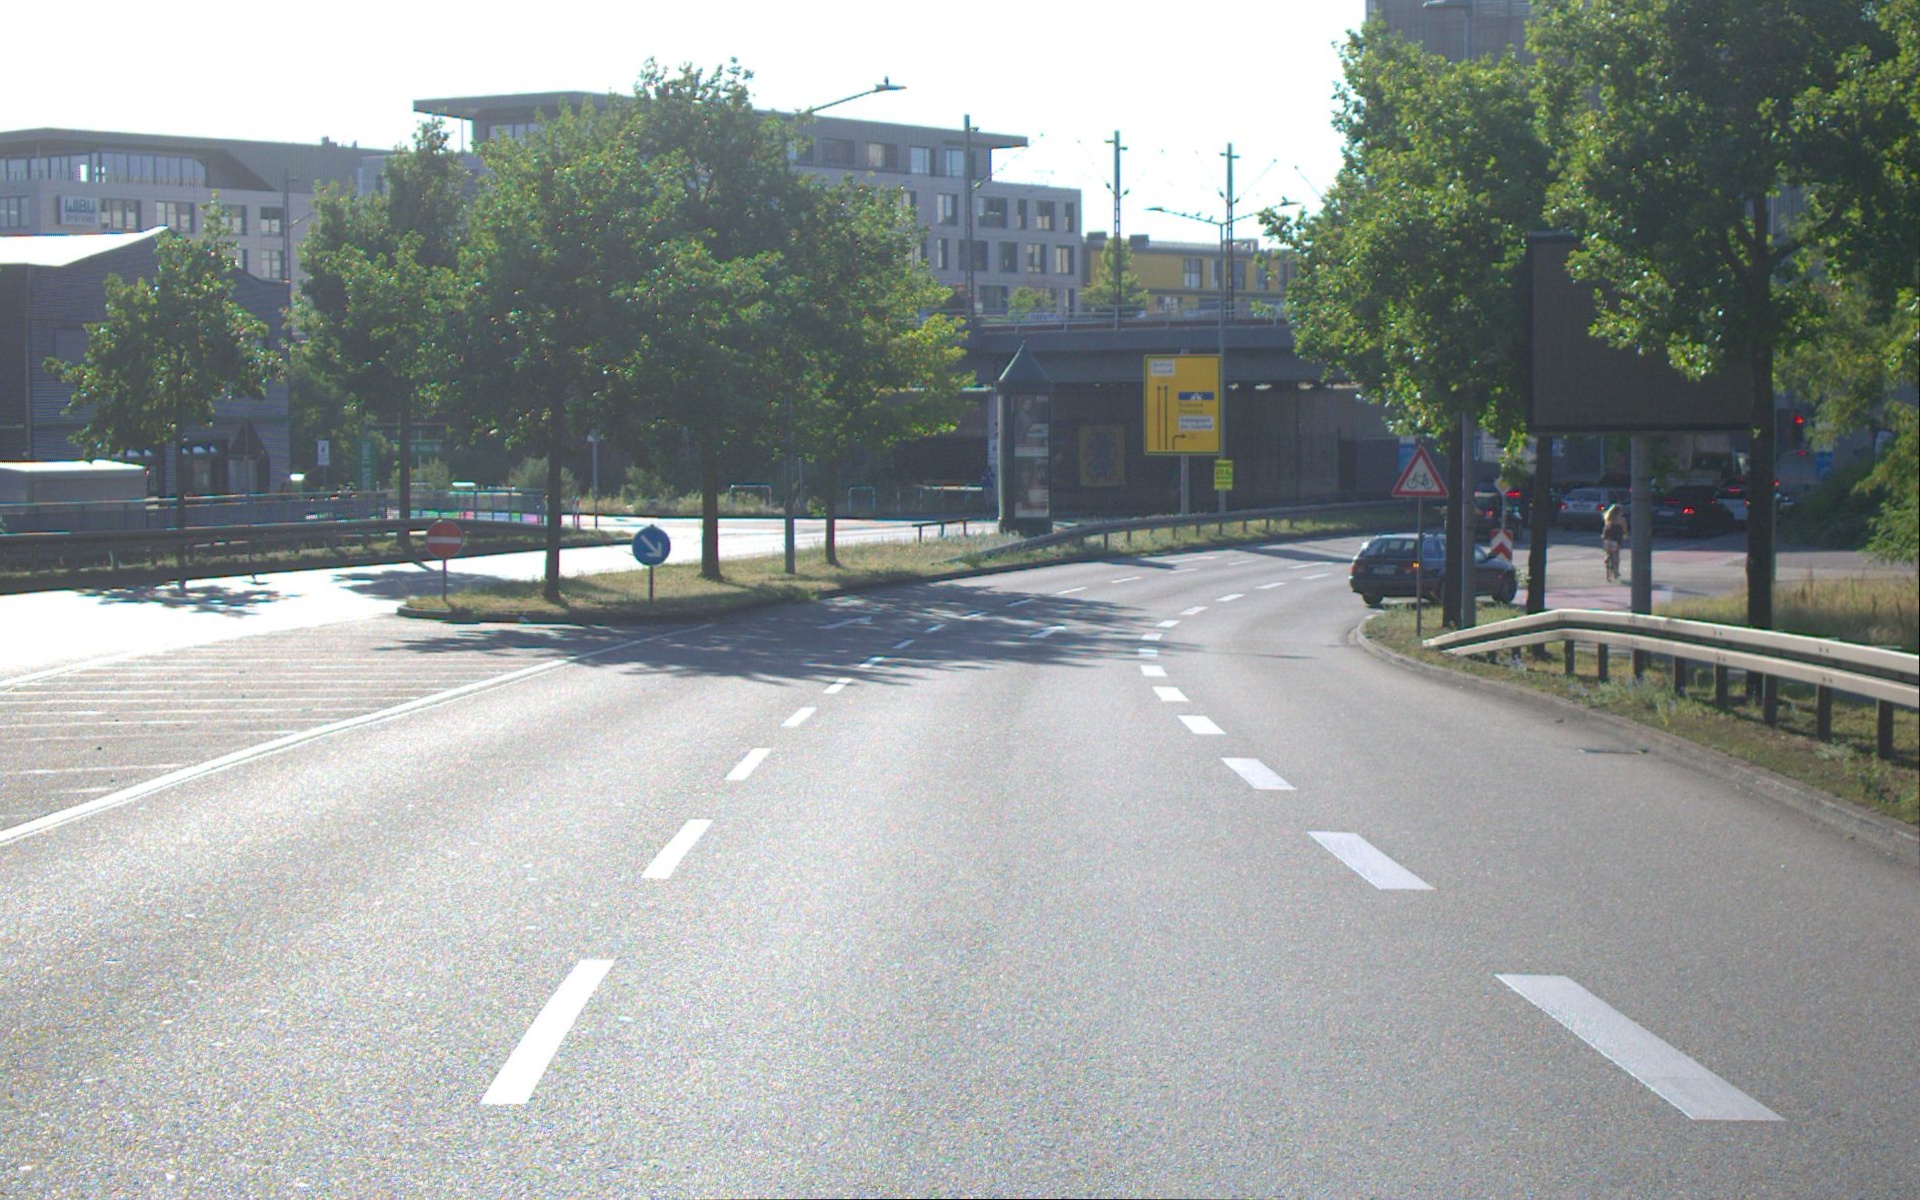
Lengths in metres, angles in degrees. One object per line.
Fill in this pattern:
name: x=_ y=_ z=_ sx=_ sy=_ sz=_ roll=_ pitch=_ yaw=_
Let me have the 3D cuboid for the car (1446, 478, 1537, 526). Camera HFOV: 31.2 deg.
car: x=16.251 y=-3.007 z=105.050 sx=1.584 sy=1.403 sz=3.826 roll=3 pitch=3 yaw=27

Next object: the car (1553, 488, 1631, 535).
car: x=20.932 y=-2.938 z=113.760 sx=1.549 sy=1.418 sz=3.412 roll=-1 pitch=2 yaw=28

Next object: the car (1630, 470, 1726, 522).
car: x=23.182 y=-3.362 z=110.924 sx=1.743 sy=1.449 sz=4.599 roll=3 pitch=5 yaw=29

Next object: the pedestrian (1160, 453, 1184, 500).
pedestrian: x=8.673 y=-5.048 z=140.619 sx=0.695 sy=1.897 sz=0.664 roll=2 pitch=3 yaw=33

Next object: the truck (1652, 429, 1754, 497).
truck: x=28.747 y=-5.288 z=132.867 sx=2.032 sy=2.547 sz=5.528 roll=2 pitch=3 yaw=32

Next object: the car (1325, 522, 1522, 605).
car: x=9.355 y=-0.742 z=69.213 sx=1.998 sy=1.503 sz=3.991 roll=-1 pitch=2 yaw=42

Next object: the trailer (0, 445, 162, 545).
trailer: x=-18.877 y=-2.203 z=70.938 sx=2.420 sy=1.963 sz=6.604 roll=1 pitch=2 yaw=9

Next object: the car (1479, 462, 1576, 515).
car: x=19.184 y=-3.791 z=116.073 sx=1.832 sy=1.732 sz=4.455 roll=2 pitch=3 yaw=29

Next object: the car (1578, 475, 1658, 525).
car: x=24.277 y=-3.700 z=126.688 sx=1.844 sy=1.713 sz=3.995 roll=-1 pitch=1 yaw=26

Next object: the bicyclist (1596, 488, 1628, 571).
bicyclist: x=15.180 y=-1.657 z=80.111 sx=0.682 sy=1.900 sz=0.833 roll=1 pitch=3 yaw=10

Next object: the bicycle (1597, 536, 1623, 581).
bicycle: x=15.176 y=-0.978 z=80.249 sx=0.579 sy=0.960 sz=2.885 roll=1 pitch=3 yaw=11

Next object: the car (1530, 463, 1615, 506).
car: x=21.704 y=-4.097 z=121.753 sx=1.844 sy=1.435 sz=3.670 roll=-1 pitch=2 yaw=28

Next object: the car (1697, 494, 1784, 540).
car: x=26.645 y=-2.842 z=117.306 sx=1.775 sy=1.490 sz=3.825 roll=1 pitch=2 yaw=31

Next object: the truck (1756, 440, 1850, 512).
truck: x=30.530 y=-4.479 z=124.412 sx=2.115 sy=2.511 sz=4.394 roll=2 pitch=2 yaw=30
